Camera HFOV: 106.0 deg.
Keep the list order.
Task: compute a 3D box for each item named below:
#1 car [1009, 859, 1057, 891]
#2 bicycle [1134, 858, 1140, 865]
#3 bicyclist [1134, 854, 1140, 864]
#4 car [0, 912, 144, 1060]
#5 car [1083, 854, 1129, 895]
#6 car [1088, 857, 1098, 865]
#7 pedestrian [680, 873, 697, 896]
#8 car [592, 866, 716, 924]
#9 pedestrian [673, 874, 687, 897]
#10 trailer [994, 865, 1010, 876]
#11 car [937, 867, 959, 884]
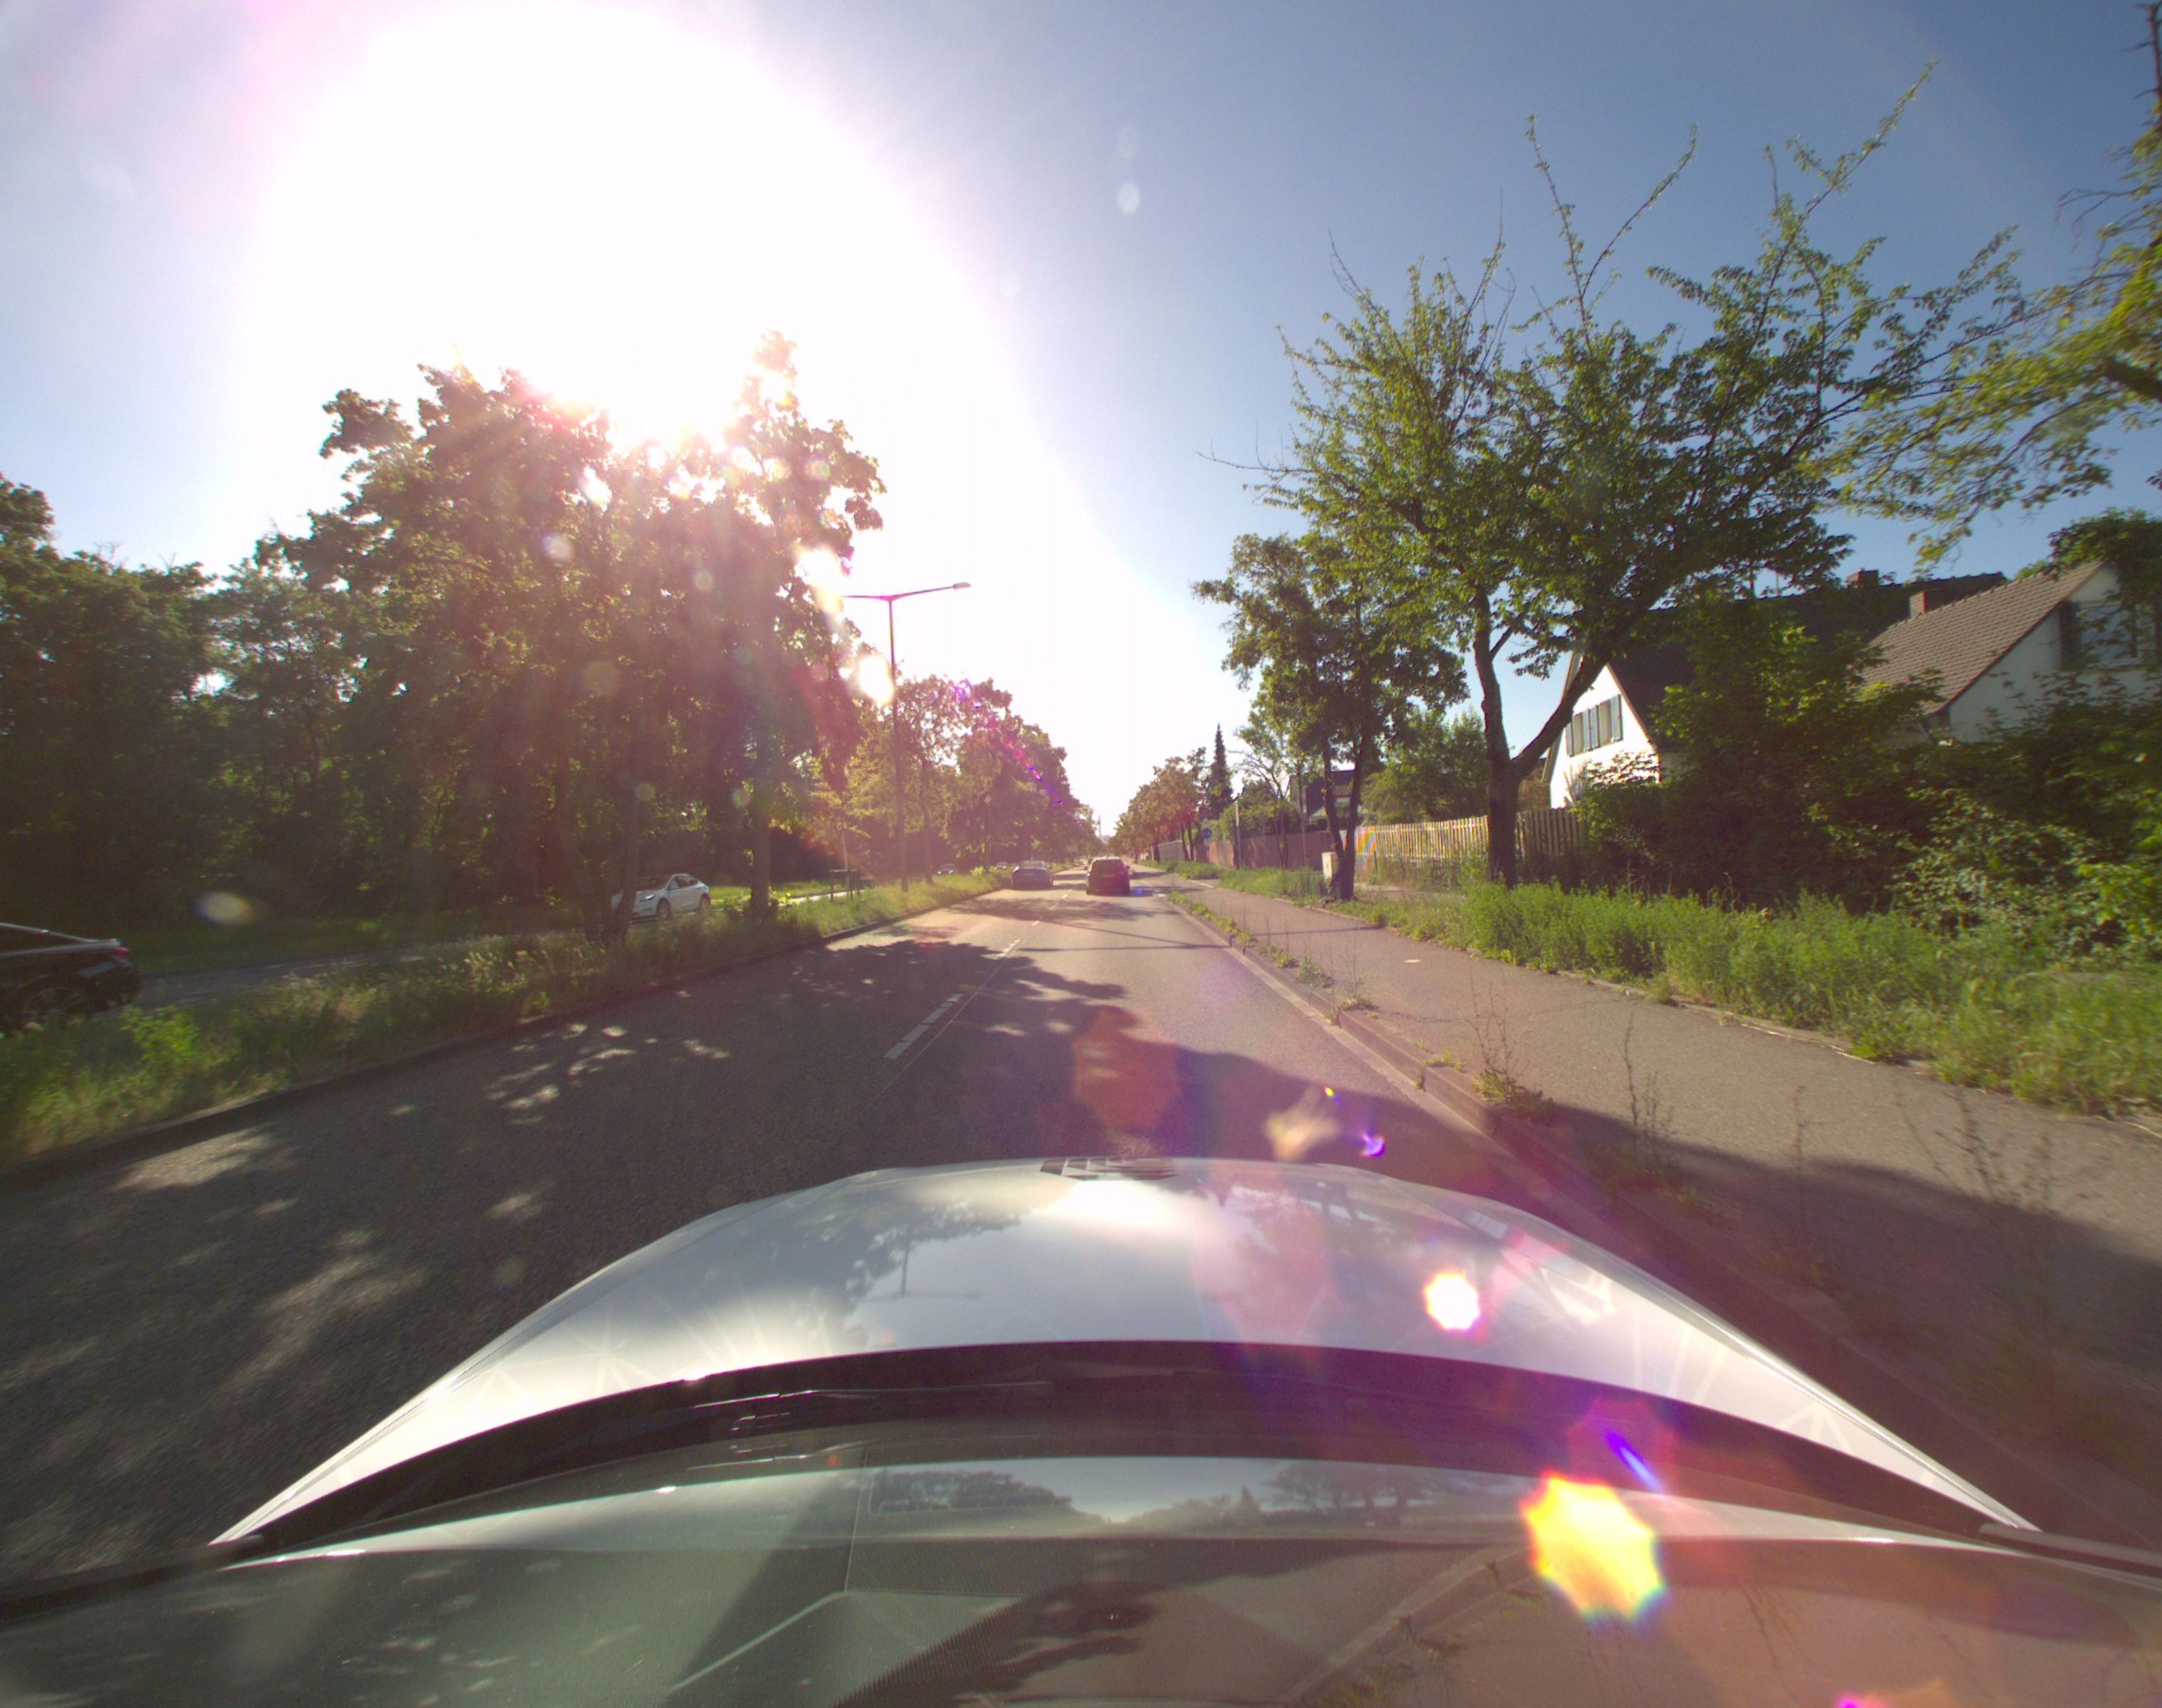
[{"bbox_3d":[-2.357,1.017,40.777,1.987,1.405,4.002,-2,0,2],"label":"car"},{"bbox_3d":[7.898,1.082,114.801,0.653,0.892,1.875,-2,0,2],"label":"bicycle"},{"bbox_3d":[7.902,0.671,114.809,0.678,1.418,0.812,-2,0,1],"label":"bicyclist"},{"bbox_3d":[-11.679,1.392,7.220,1.695,1.395,4.252,-2,0,2],"label":"car"},{"bbox_3d":[1.078,0.812,33.619,1.753,1.559,4.003,-1,0,3],"label":"car"},{"bbox_3d":[2.552,1.567,180.756,1.973,1.440,3.997,-3,1,-2],"label":"car"},{"bbox_3d":[-25.464,1.976,52.837,0.542,1.460,0.917,-3,0,2],"label":"pedestrian"},{"bbox_3d":[-15.090,1.388,29.118,1.834,1.589,4.585,-8,0,0],"label":"car"},{"bbox_3d":[-25.956,2.034,52.774,0.542,1.460,0.596,-3,0,1],"label":"pedestrian"},{"bbox_3d":[-11.672,2.406,120.730,1.734,1.424,4.499,-4,0,2],"label":"trailer"},{"bbox_3d":[-13.562,2.190,83.111,1.711,1.505,3.013,-5,1,-3],"label":"car"}]
